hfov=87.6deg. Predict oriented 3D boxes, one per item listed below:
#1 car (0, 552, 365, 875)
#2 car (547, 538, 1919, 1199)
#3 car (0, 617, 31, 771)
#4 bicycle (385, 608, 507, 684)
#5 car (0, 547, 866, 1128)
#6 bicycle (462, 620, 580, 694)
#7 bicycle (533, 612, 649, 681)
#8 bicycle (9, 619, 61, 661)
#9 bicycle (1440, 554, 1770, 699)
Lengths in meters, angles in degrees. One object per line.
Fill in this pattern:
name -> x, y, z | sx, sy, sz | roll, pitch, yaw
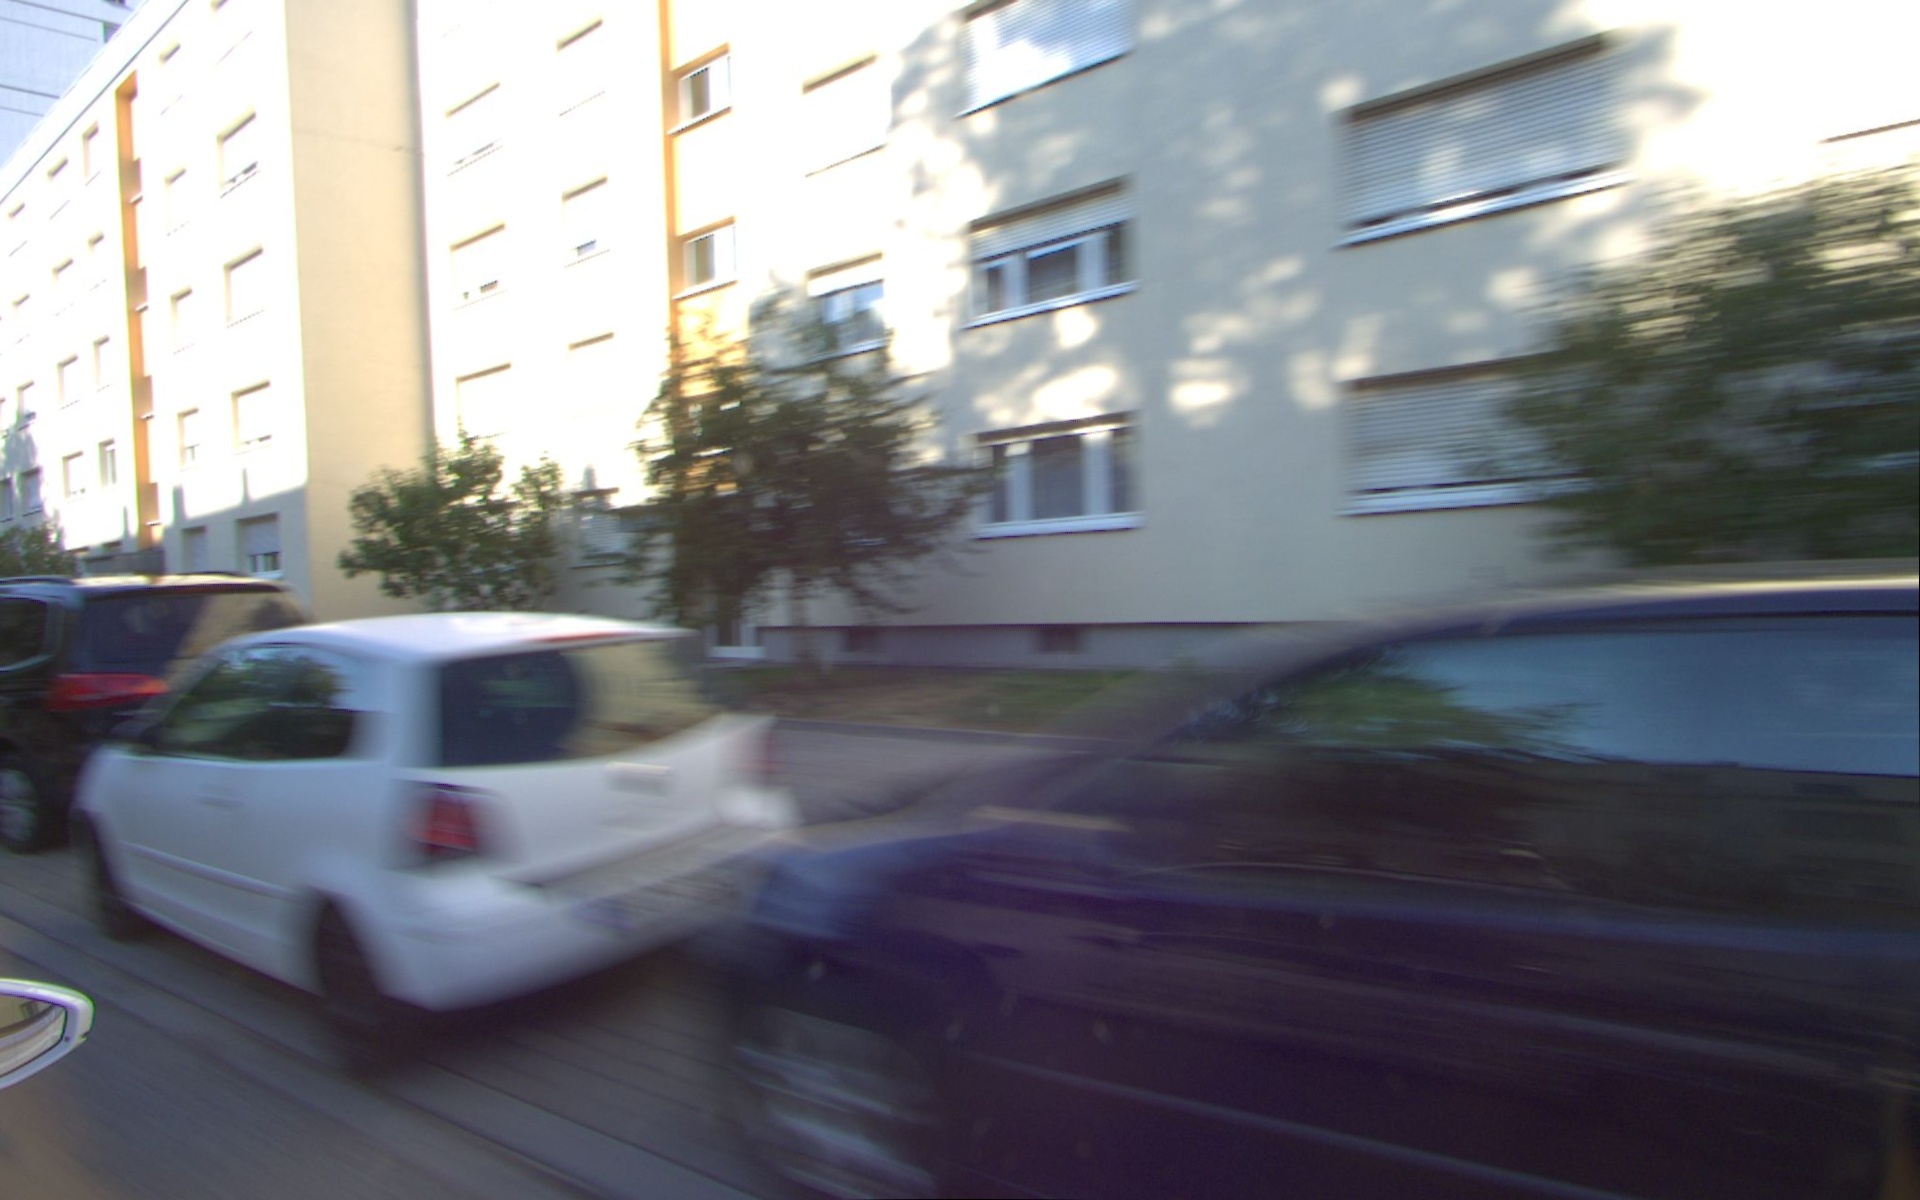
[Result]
car -> -6.775, 0.656, 7.519 | 4.699, 1.773, 2.019 | -2, 1, 32
car -> 1.103, 0.812, 2.320 | 3.923, 1.796, 1.832 | -2, 2, 33
car -> -11.253, 0.939, 10.083 | 4.657, 1.433, 1.676 | -2, -2, 33
bicycle -> -8.184, 0.695, 15.901 | 2.359, 1.096, 0.598 | 1, 2, 33
car -> -2.623, 0.667, 4.527 | 4.115, 1.521, 1.832 | -2, 1, 34
bicycle -> -7.371, 0.921, 16.763 | 2.359, 1.096, 0.598 | 1, 2, 33
bicycle -> -6.487, 0.778, 17.532 | 2.359, 1.096, 0.598 | 1, 2, 33
bicycle -> -23.686, 1.036, 25.632 | 1.808, 1.034, 0.610 | -2, -2, 35
bicycle -> 5.569, 0.235, 8.792 | 2.363, 1.129, 0.491 | -2, 4, 36
